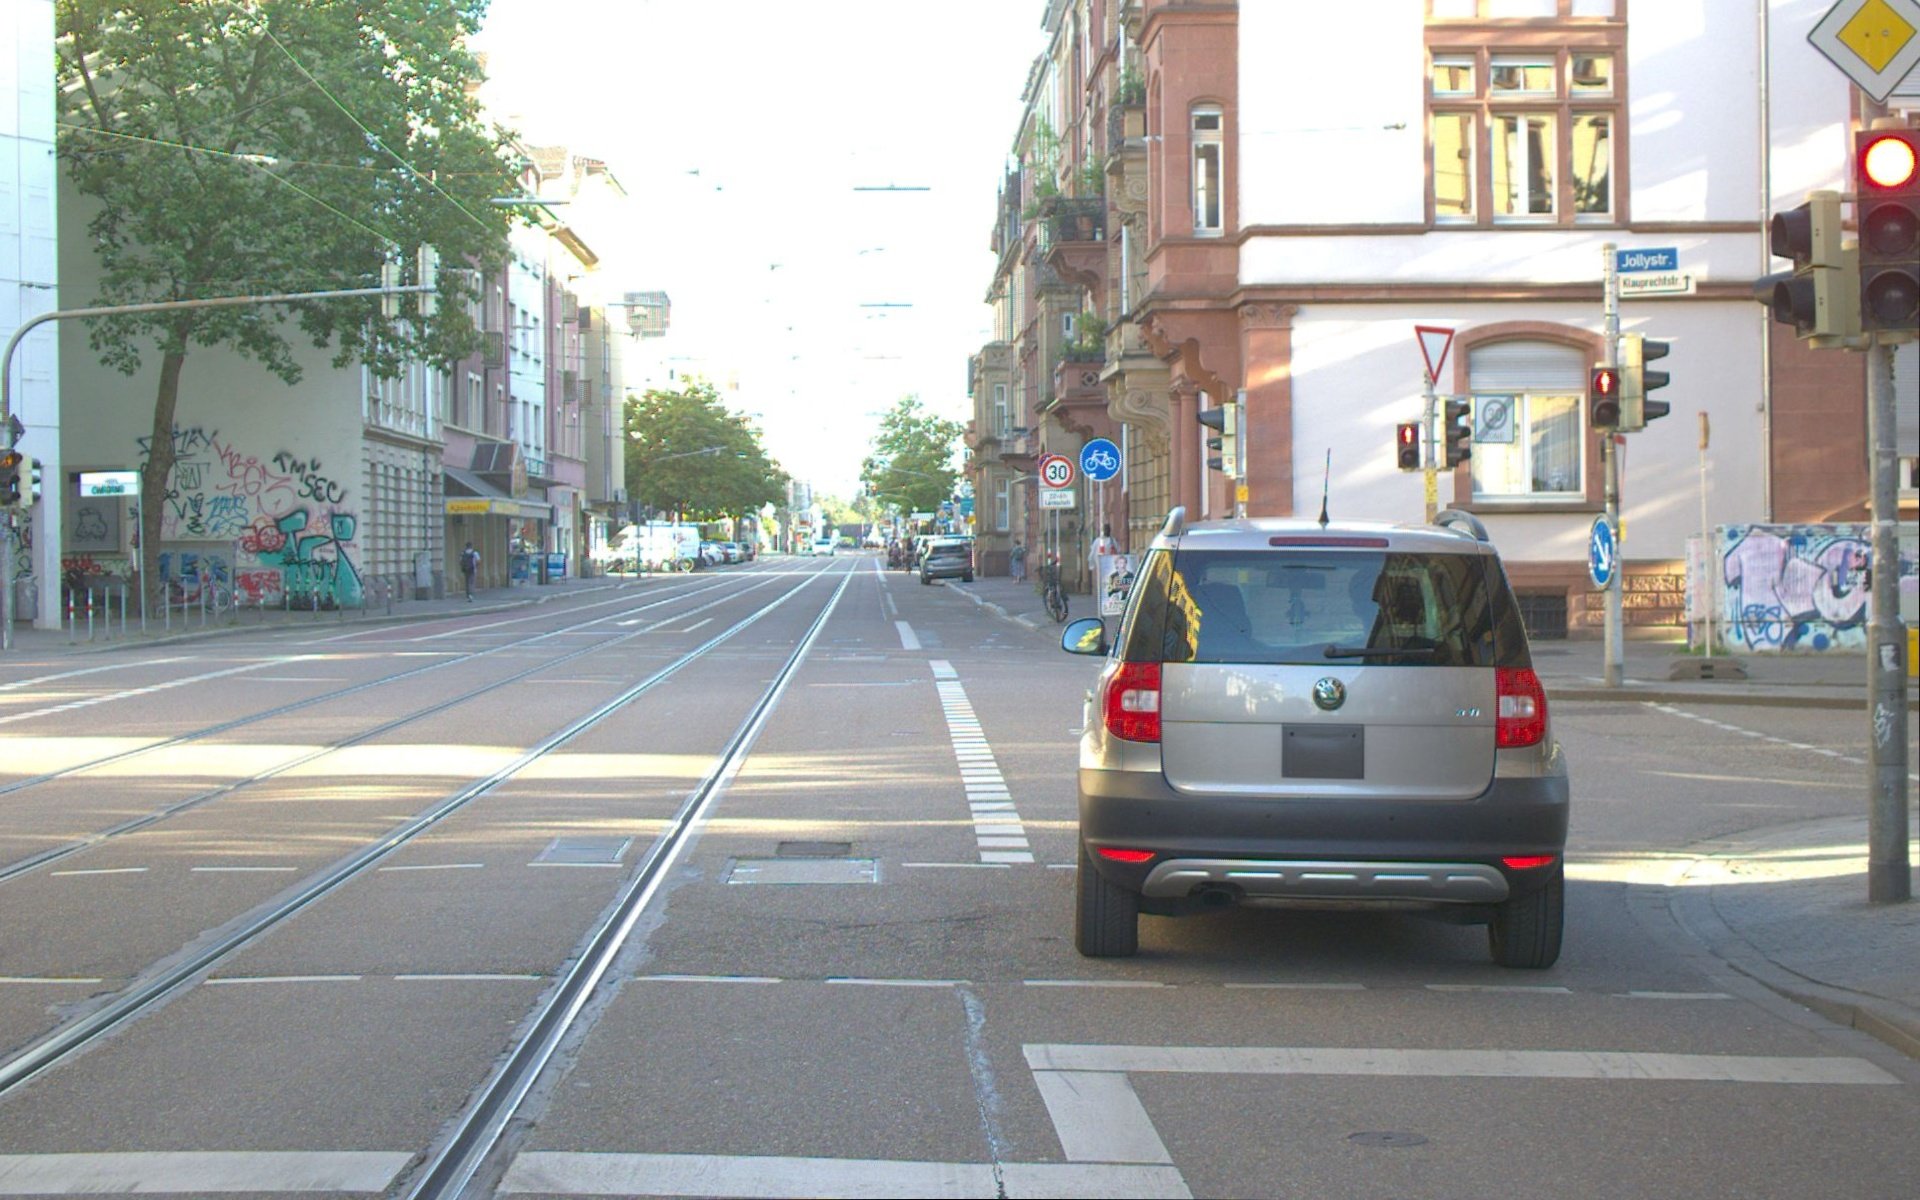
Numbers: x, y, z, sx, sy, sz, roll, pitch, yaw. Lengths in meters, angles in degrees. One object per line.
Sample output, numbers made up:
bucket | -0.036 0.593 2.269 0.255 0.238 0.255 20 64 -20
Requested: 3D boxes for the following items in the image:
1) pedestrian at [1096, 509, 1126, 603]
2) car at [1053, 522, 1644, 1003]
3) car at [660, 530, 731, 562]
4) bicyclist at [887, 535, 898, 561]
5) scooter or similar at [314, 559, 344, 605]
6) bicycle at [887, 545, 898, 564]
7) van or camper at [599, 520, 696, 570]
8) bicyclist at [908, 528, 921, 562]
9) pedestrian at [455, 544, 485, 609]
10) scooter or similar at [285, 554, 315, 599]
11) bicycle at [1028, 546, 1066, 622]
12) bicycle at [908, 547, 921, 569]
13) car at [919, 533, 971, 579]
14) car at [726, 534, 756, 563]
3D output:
pedestrian | 2.868 -0.832 65.210 0.544 1.774 0.504 0 1 0
car | 1.440 0.526 13.838 1.994 1.612 4.000 1 1 3
car | -16.627 -3.409 215.922 3.986 2.007 2.000 0 1 -26
bicyclist | -3.711 -2.842 188.365 0.575 1.447 0.645 0 1 0
scooter or similar | -14.928 -0.433 81.329 0.516 1.053 1.478 0 1 -3
bicycle | -3.706 -2.513 188.374 0.575 1.026 1.895 0 1 0
van or camper | -16.359 -2.863 179.960 4.635 2.554 2.000 1 0 -32
bicyclist | -2.088 -2.521 157.501 0.575 1.548 0.595 0 1 0
pedestrian | -13.109 -0.633 91.976 0.701 1.722 0.648 0 1 -1
scooter or similar | -15.599 -0.560 81.281 0.516 1.042 1.478 0 1 -3
bicycle | 1.542 -0.292 61.022 0.653 1.319 2.176 0 1 1
bicycle | -2.087 -1.936 157.514 0.575 1.026 1.895 0 1 0
car | -0.552 -1.674 130.346 1.950 1.678 4.000 0 1 0
car | -15.423 -3.622 241.889 1.993 2.007 4.000 0 1 -2
